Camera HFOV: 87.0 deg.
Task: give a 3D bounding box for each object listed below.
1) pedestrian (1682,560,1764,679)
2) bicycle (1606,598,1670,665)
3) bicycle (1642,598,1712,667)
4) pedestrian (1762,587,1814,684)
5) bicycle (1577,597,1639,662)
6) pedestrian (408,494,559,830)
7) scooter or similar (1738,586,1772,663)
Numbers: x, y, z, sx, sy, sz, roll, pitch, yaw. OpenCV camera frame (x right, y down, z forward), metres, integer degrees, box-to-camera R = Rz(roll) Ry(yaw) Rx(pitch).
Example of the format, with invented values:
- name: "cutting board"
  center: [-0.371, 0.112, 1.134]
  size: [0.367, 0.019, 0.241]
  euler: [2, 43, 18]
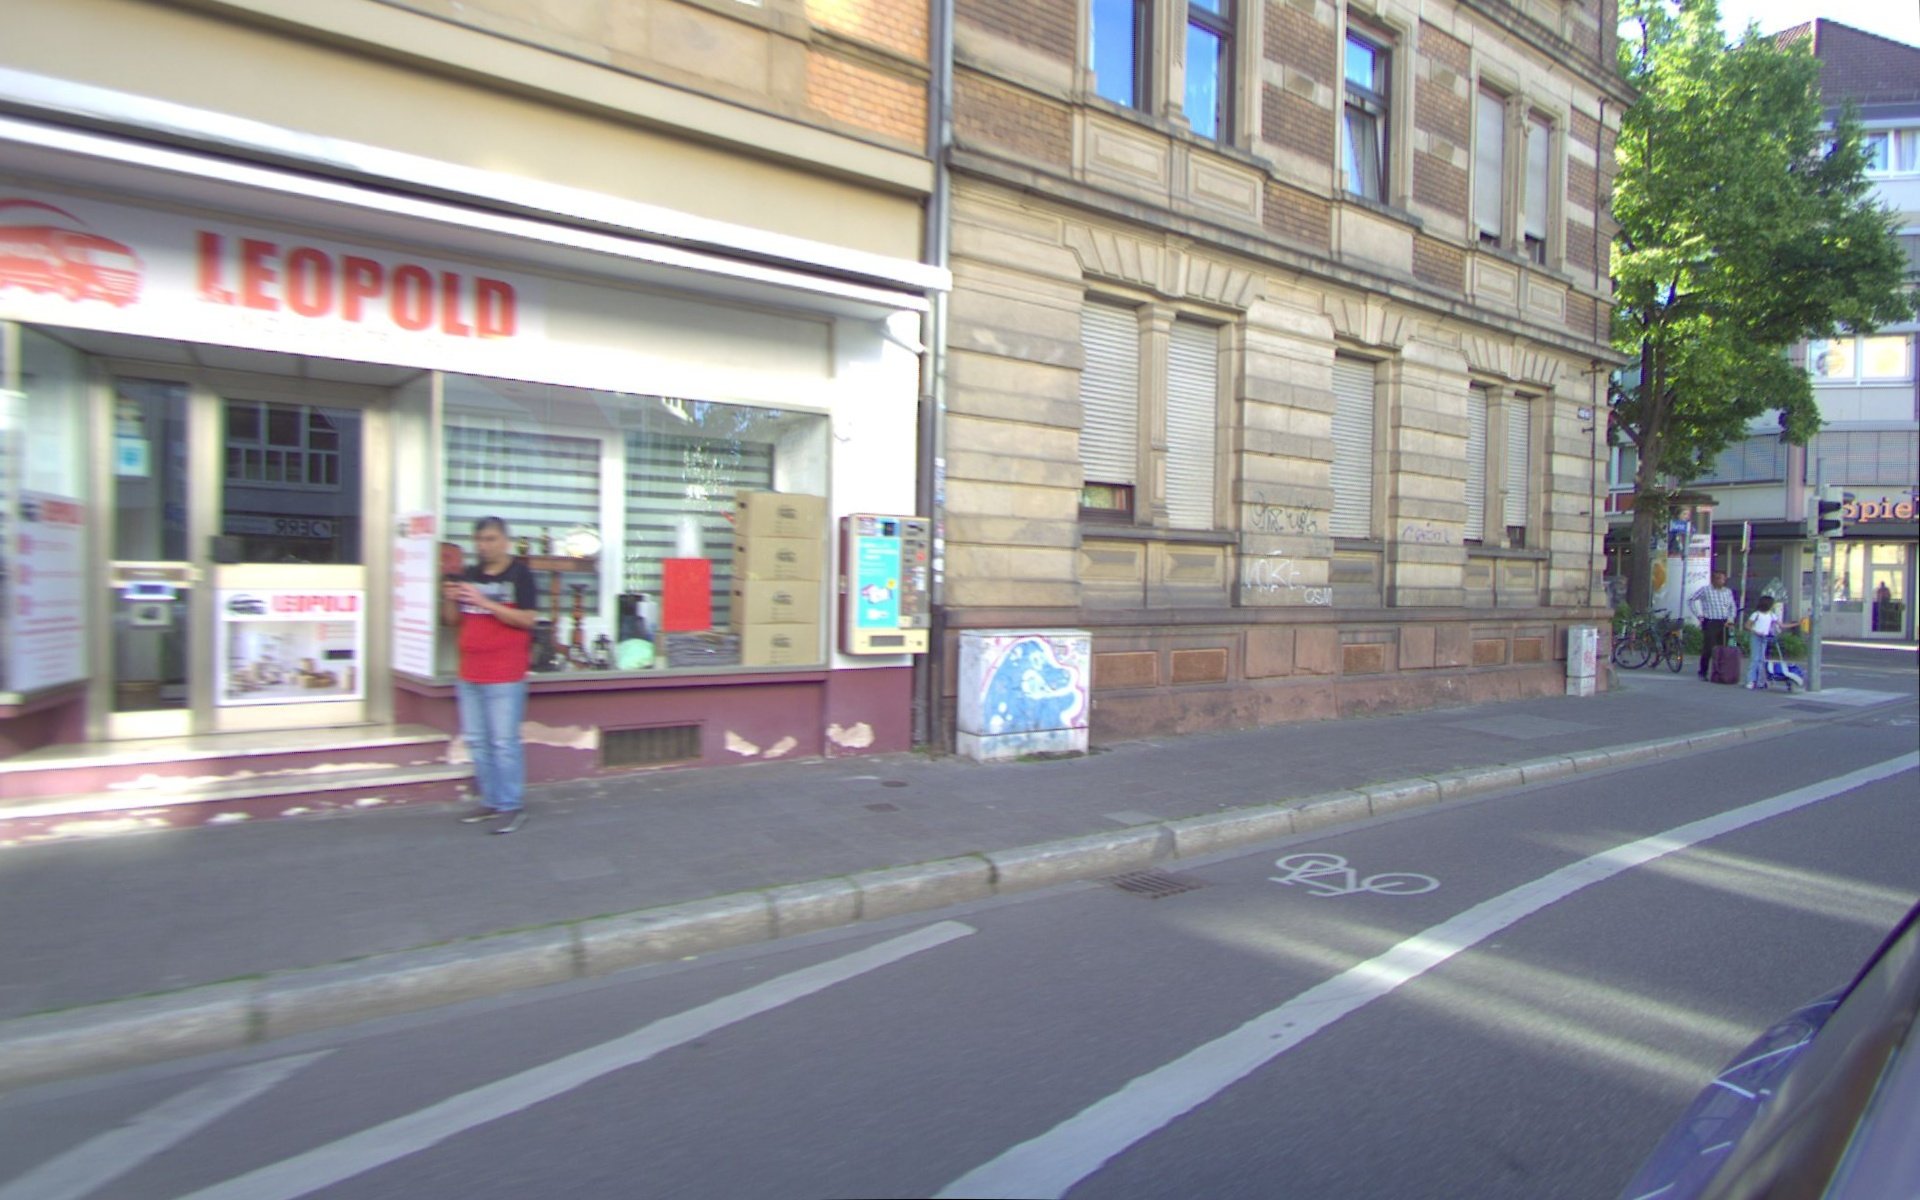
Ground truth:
- name: "pedestrian"
  center: [12.175, 0.292, 16.180]
  size: [0.841, 1.830, 0.868]
  euler: [2, 1, 26]
- name: "bicycle"
  center: [12.610, 0.557, 18.861]
  size: [0.438, 1.129, 1.806]
  euler: [1, 1, 16]
- name: "bicycle"
  center: [12.964, 0.559, 18.353]
  size: [0.438, 1.129, 1.806]
  euler: [1, 1, 16]
- name: "pedestrian"
  center: [12.552, 0.518, 15.354]
  size: [0.578, 1.432, 0.568]
  euler: [-1, -1, 38]
- name: "bicycle"
  center: [12.169, 0.526, 19.057]
  size: [0.438, 1.129, 1.806]
  euler: [1, 1, 15]
- name: "pedestrian"
  center: [-2.598, 0.318, 5.548]
  size: [0.577, 1.750, 0.470]
  euler: [1, 1, 3]
- name: "scooter or similar"
  center: [14.054, 0.402, 17.882]
  size: [0.390, 1.305, 1.500]
  euler: [2, 1, 40]
